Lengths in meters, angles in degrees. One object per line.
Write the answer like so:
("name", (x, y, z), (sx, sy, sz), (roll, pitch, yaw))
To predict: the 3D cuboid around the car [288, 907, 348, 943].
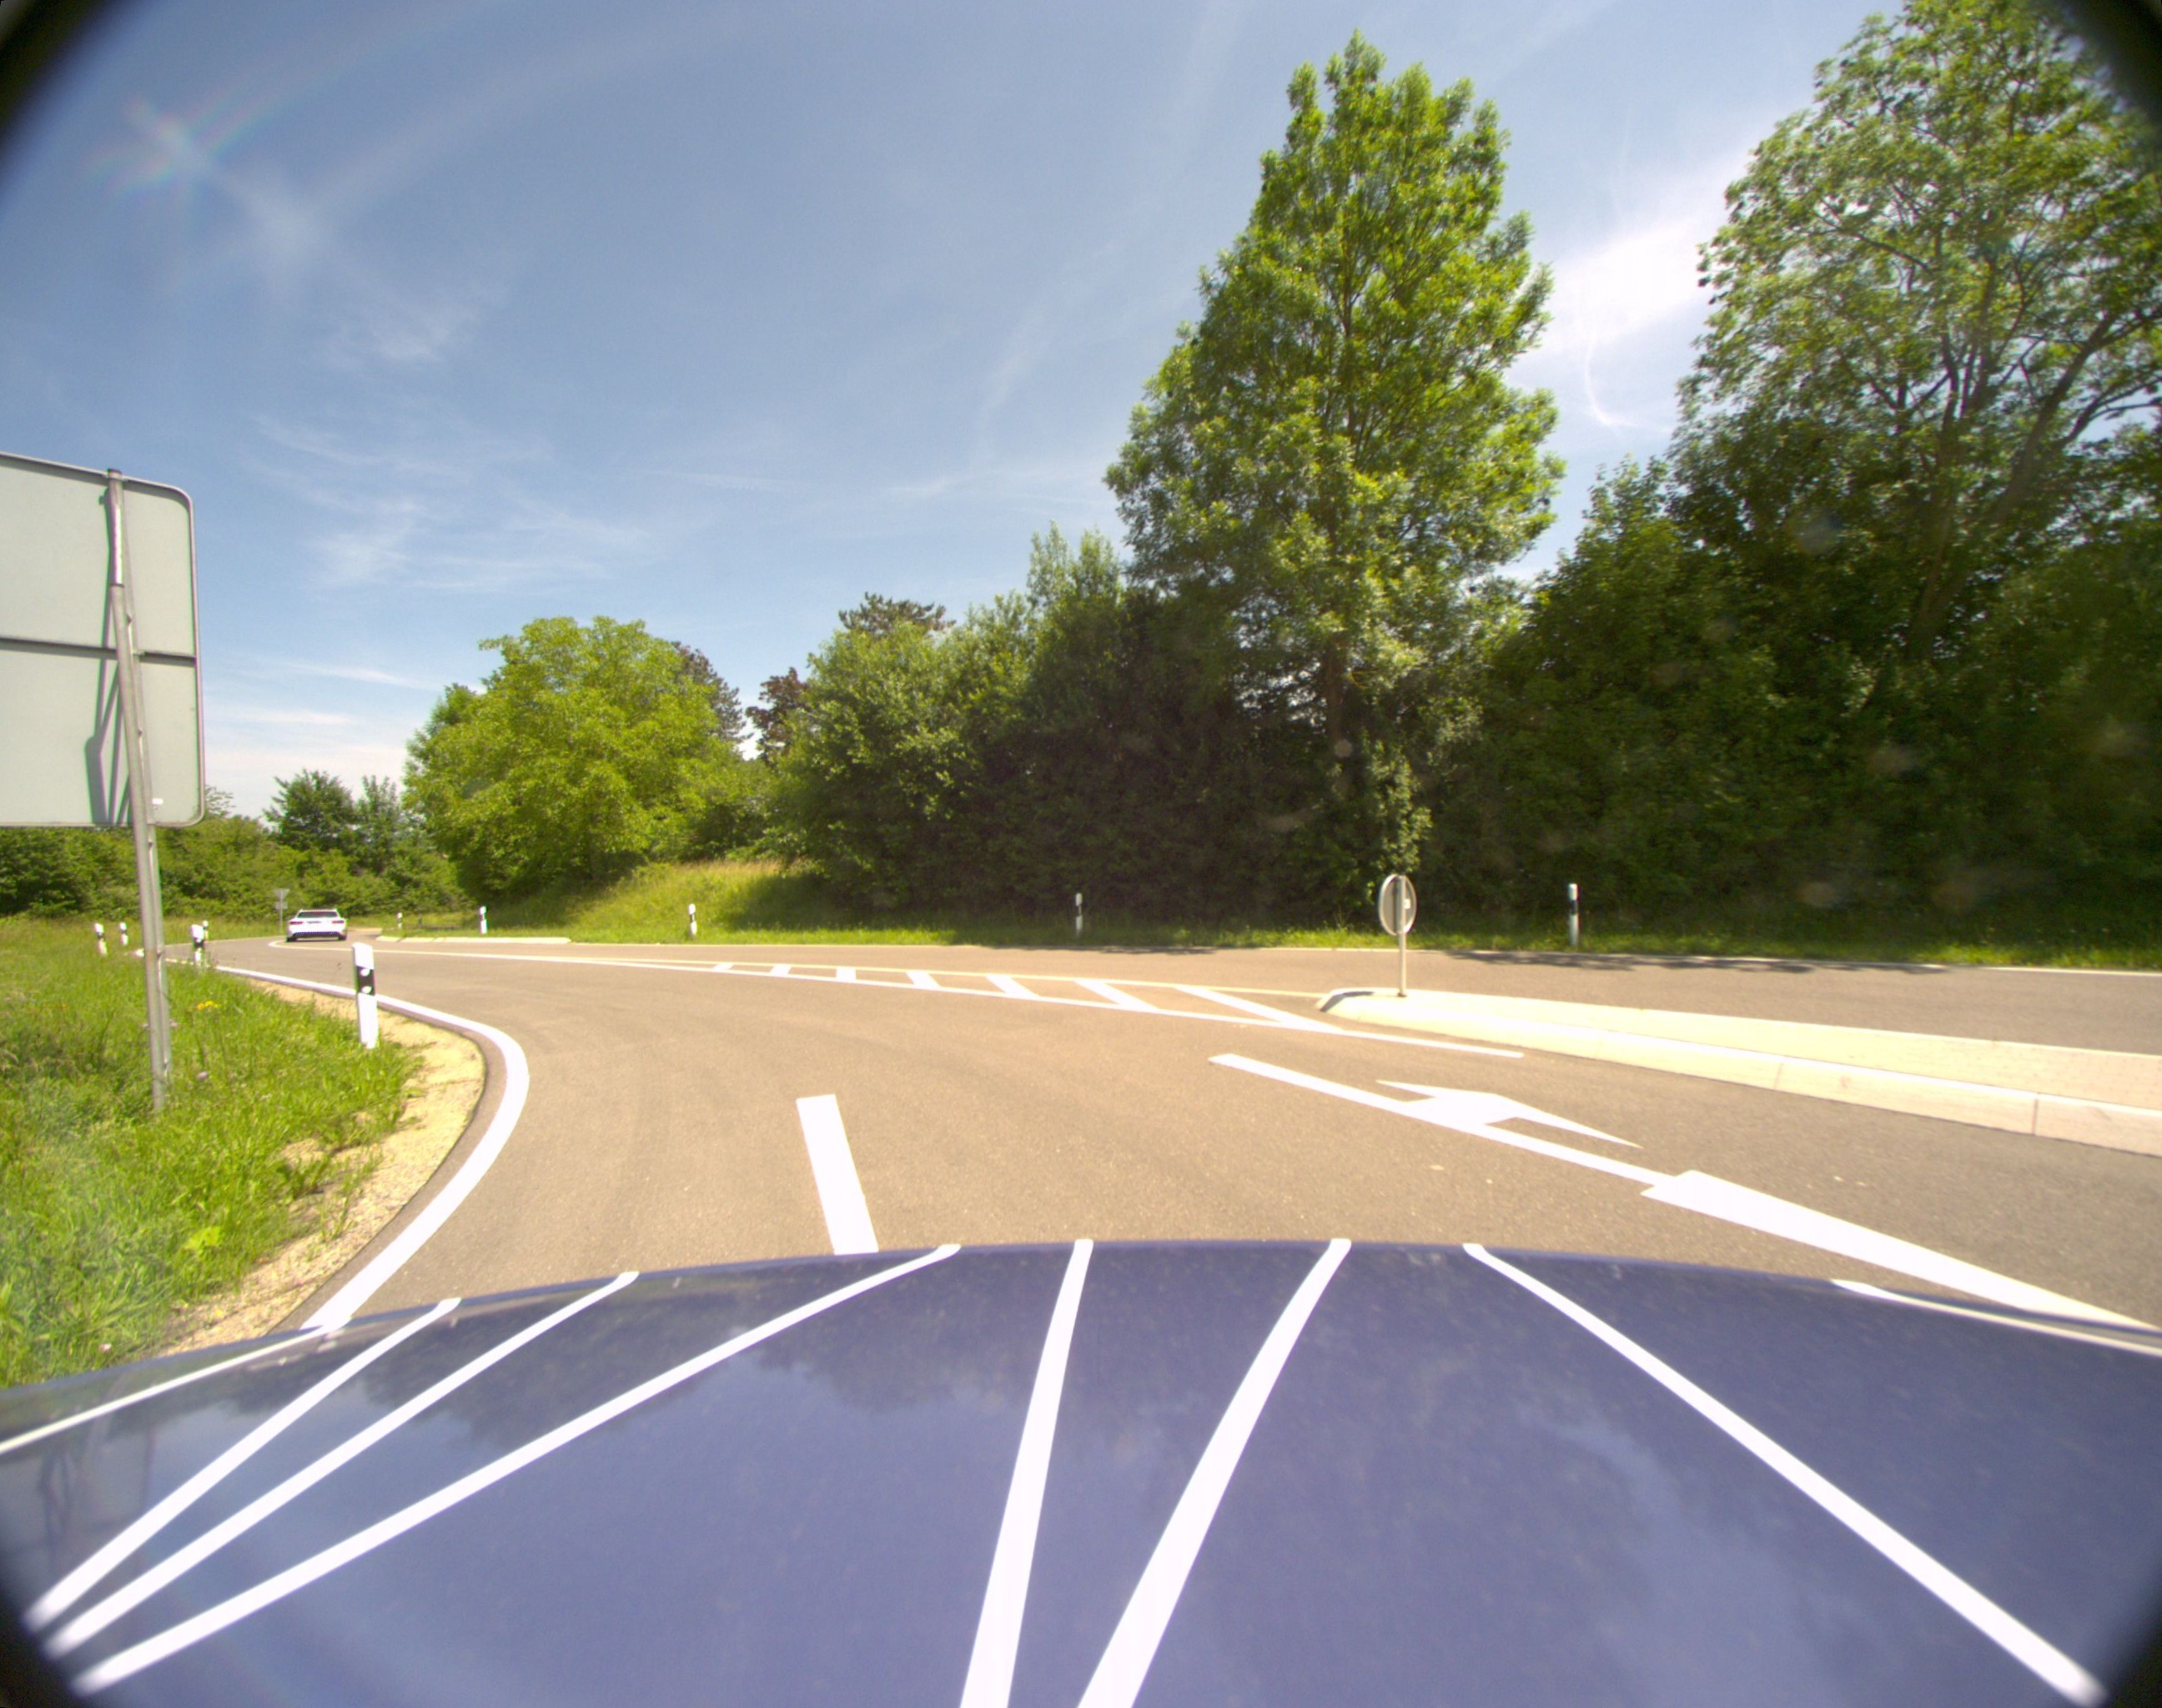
("car", (-34.166, 3.146, 34.126), (1.814, 1.403, 5.321), (0, -4, -44))
